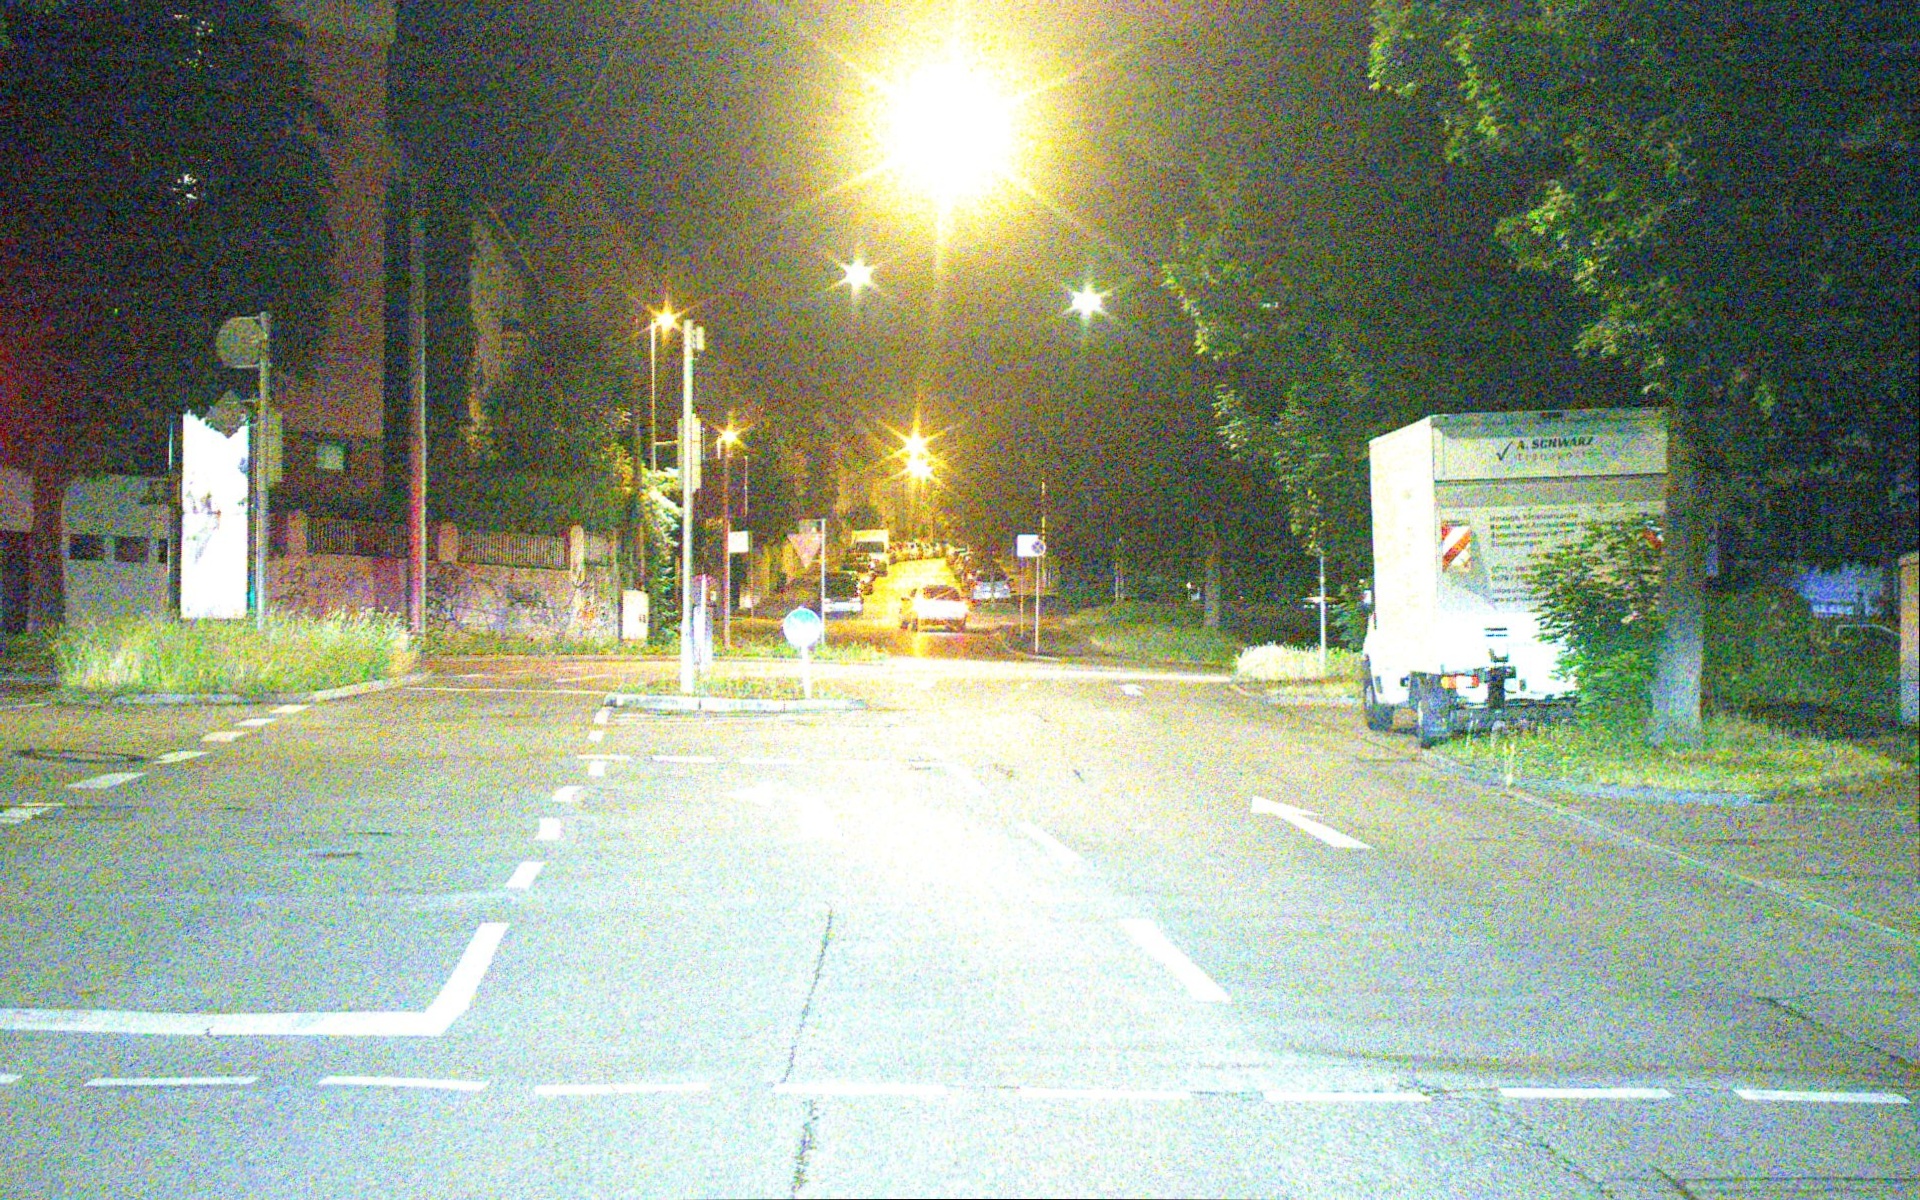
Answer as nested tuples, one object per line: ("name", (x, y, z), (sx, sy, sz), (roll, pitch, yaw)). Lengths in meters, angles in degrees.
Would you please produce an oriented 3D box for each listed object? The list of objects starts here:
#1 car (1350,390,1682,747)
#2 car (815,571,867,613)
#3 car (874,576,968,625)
("car", (5.194, -0.288, 33.006), (2.297, 3.082, 5.840), (-1, 0, 1))
("car", (-4.593, -0.303, 132.985), (1.908, 1.552, 3.904), (1, 0, -1))
("car", (-1.251, 0.005, 108.519), (1.775, 1.481, 4.001), (1, 0, -19))
